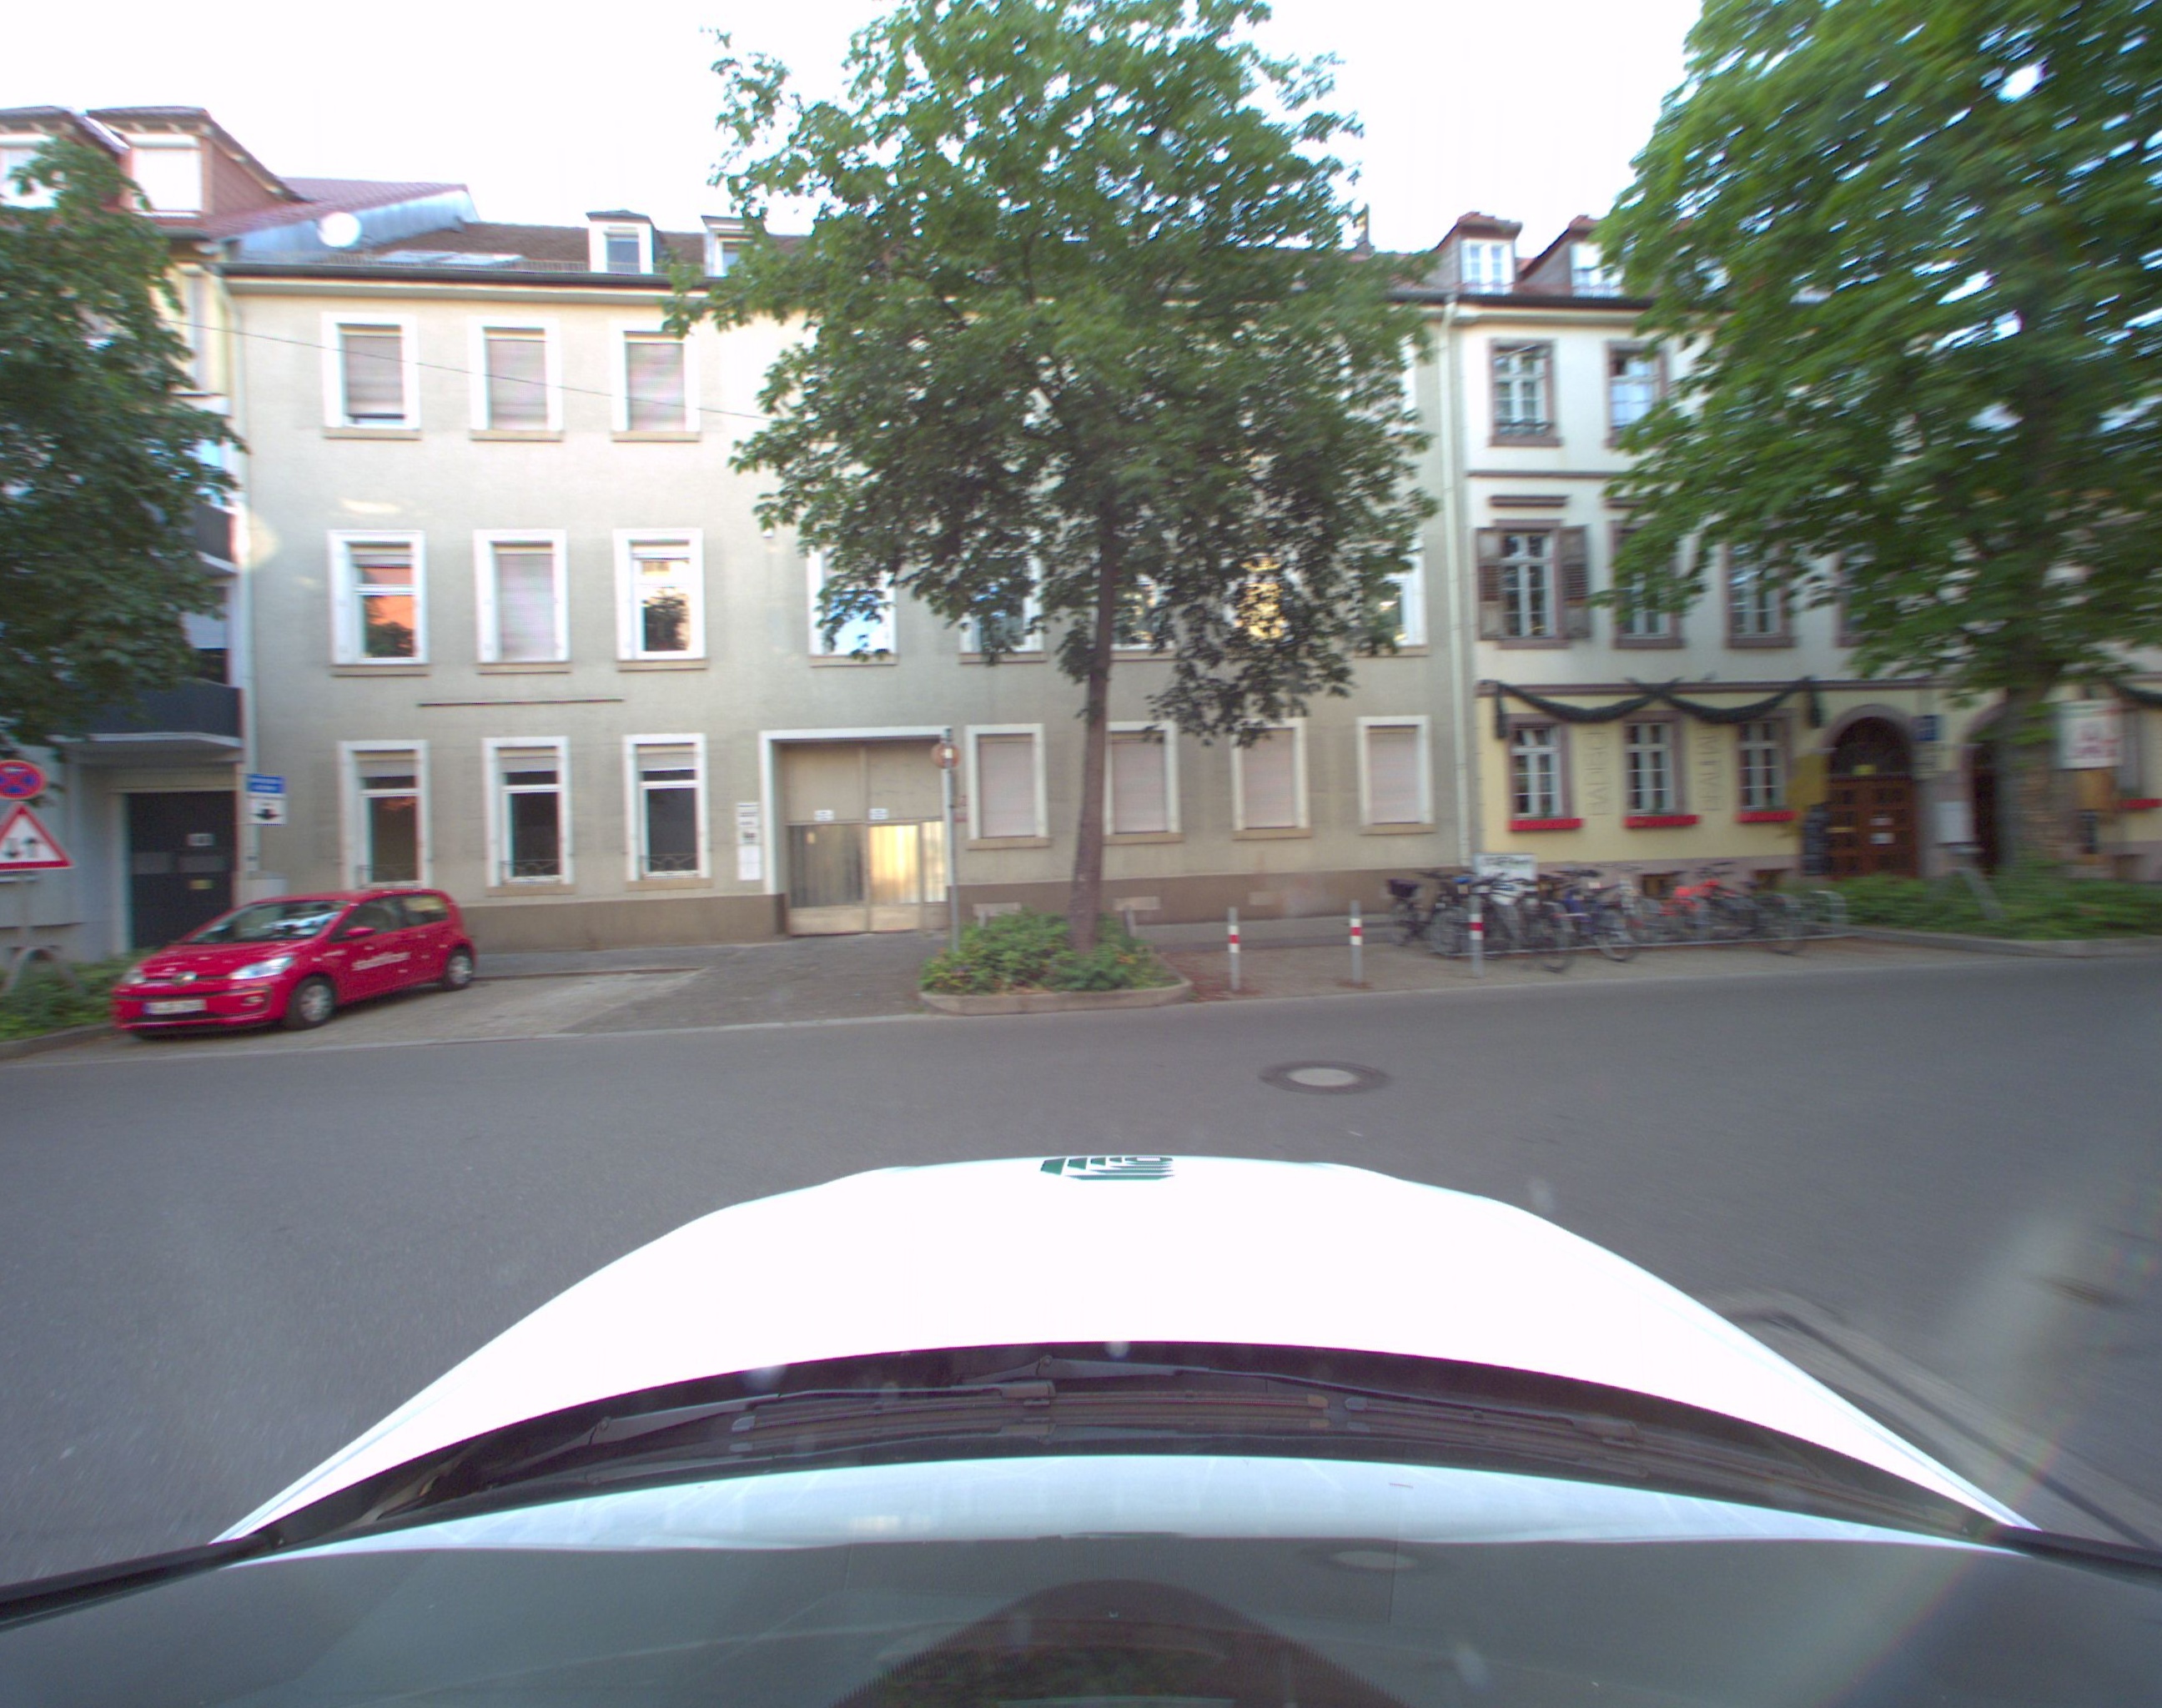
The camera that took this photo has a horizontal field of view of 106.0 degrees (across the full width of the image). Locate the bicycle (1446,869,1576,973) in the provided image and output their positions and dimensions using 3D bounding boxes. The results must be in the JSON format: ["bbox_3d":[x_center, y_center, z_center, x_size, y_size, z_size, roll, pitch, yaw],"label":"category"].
[{"bbox_3d":[5.374,0.783,10.326,0.444,1.145,2.040,-2,0,-3],"label":"bicycle"}]

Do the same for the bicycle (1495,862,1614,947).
[{"bbox_3d":[7.043,0.708,12.235,0.419,1.145,2.039,-2,0,-4],"label":"bicycle"}]

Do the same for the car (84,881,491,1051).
[{"bbox_3d":[-9.245,1.179,9.978,1.558,1.475,3.660,-2,1,-6],"label":"car"}]

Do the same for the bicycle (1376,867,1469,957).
[{"bbox_3d":[4.879,0.787,11.785,0.443,1.145,2.042,-2,0,0],"label":"bicycle"}]

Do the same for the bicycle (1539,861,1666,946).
[{"bbox_3d":[7.712,0.683,12.166,0.419,1.145,2.039,-2,0,-4],"label":"bicycle"}]

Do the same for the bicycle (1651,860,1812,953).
[{"bbox_3d":[8.831,0.662,11.184,0.419,1.145,2.039,-2,0,-4],"label":"bicycle"}]

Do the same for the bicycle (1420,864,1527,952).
[{"bbox_3d":[5.727,0.744,12.031,0.419,1.145,2.039,-2,0,-4],"label":"bicycle"}]

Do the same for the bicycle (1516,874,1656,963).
[{"bbox_3d":[6.605,0.802,10.794,0.419,1.004,2.039,-2,0,-4],"label":"bicycle"}]
